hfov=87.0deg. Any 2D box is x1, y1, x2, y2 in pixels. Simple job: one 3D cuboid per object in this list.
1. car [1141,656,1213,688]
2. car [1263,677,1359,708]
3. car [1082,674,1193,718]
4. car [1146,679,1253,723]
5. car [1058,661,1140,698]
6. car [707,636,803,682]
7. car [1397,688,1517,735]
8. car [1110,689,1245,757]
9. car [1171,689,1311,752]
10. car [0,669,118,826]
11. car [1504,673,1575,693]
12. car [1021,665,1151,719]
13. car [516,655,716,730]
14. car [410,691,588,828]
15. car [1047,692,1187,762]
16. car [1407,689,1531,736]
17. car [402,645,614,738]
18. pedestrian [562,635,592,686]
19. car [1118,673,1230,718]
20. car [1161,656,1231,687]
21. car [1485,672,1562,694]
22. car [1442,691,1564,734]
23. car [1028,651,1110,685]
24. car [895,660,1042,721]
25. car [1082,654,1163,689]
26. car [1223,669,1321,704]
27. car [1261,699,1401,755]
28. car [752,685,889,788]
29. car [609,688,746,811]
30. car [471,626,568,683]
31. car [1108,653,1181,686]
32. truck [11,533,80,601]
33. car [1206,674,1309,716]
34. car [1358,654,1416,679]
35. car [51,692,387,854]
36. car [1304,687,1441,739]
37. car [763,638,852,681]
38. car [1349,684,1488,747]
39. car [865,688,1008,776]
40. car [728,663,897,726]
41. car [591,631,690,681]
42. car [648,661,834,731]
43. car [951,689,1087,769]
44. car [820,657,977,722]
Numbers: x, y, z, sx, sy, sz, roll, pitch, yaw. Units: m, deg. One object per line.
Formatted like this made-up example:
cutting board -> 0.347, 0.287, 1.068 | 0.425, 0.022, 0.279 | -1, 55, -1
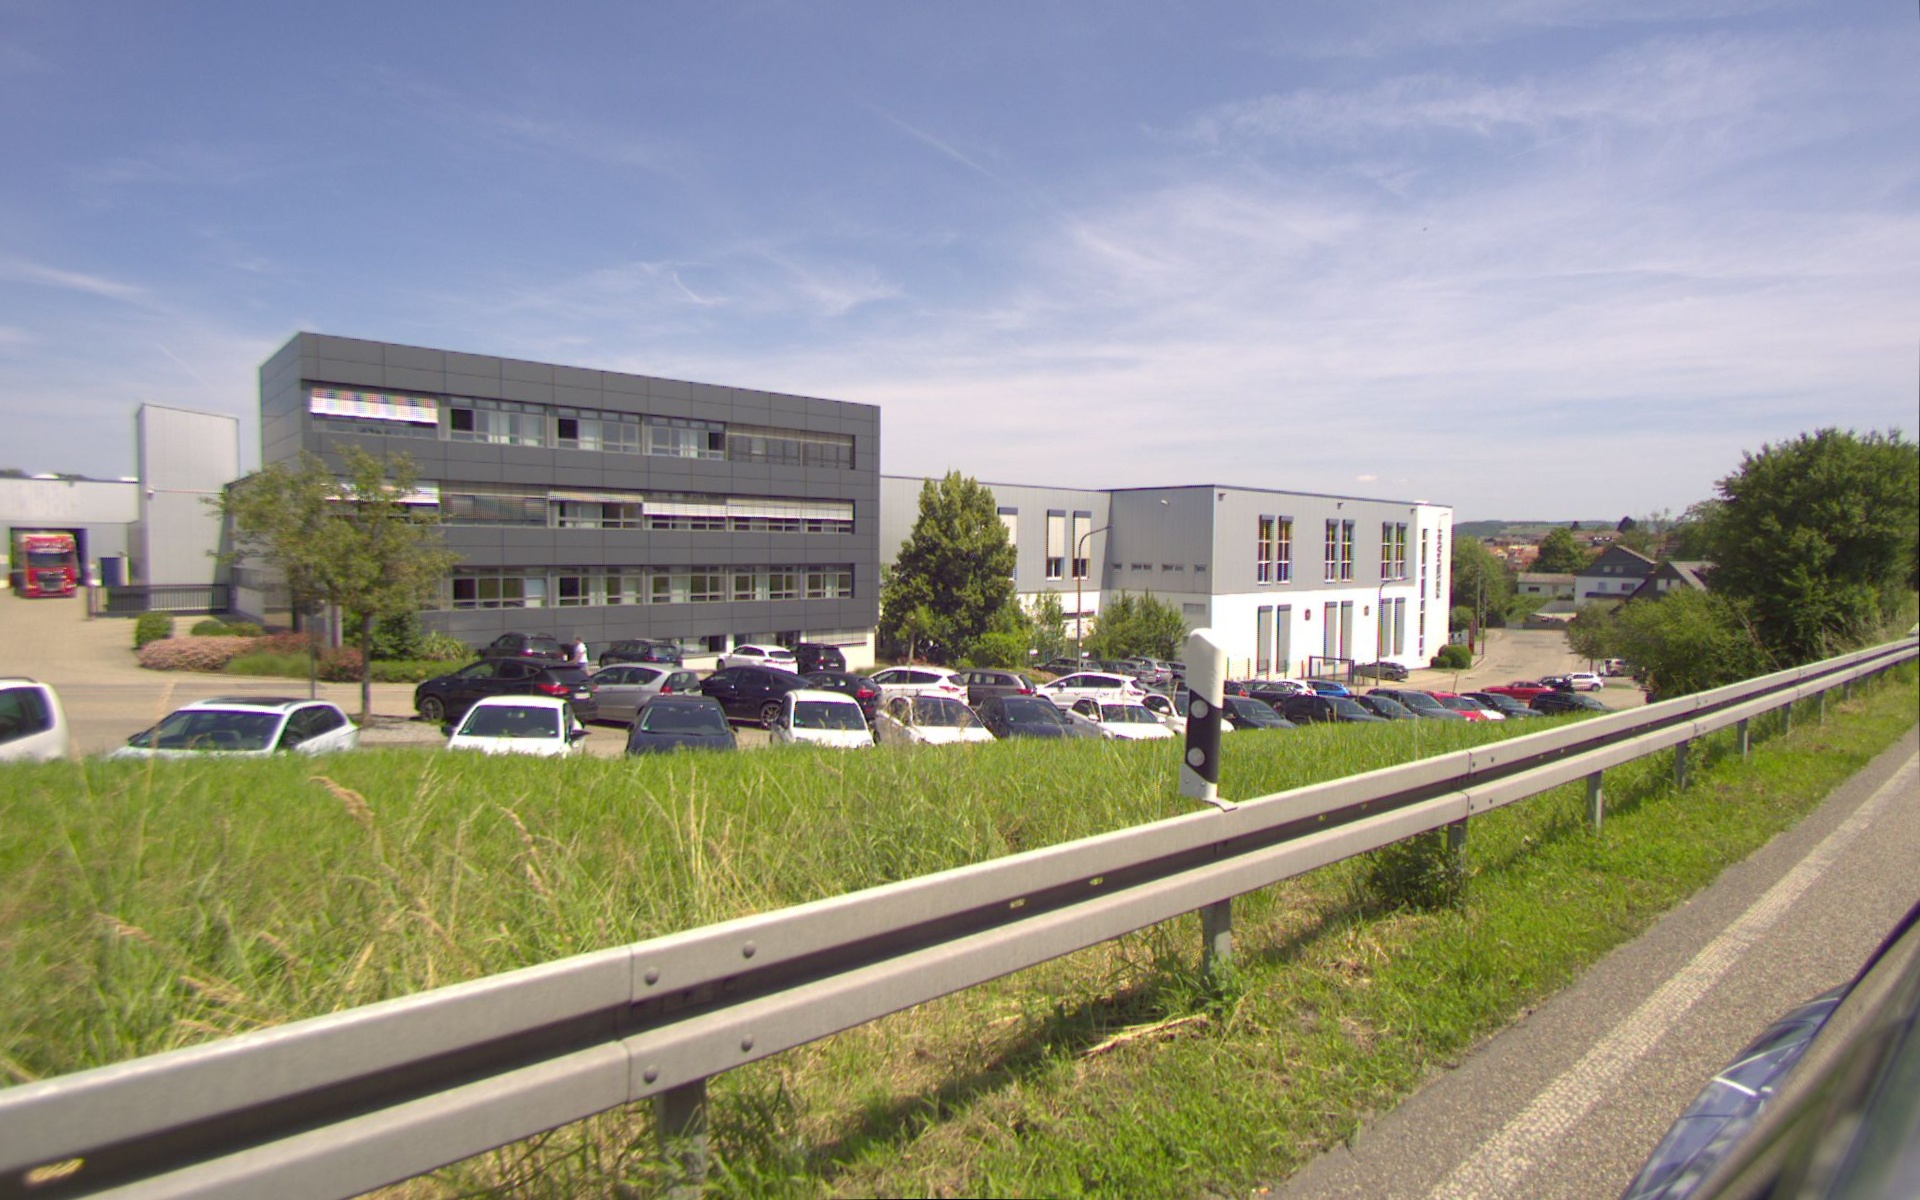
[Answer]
car -> 13.804, 4.556, 64.452 | 1.880, 1.591, 4.042 | 3, 1, -44
car -> 17.237, 4.558, 49.939 | 4.352, 1.464, 1.779 | -2, -4, 18
car -> 6.947, 3.736, 39.554 | 4.102, 1.396, 1.780 | 2, -3, 16
car -> 10.363, 4.341, 43.724 | 4.353, 1.556, 1.779 | 2, -3, 18
car -> 8.132, 4.635, 59.383 | 1.790, 1.591, 4.577 | 3, 1, -44
car -> -8.985, 2.533, 44.172 | 4.573, 1.592, 1.791 | 3, 0, 44
car -> 19.039, 4.240, 39.027 | 1.945, 1.580, 4.414 | 0, -4, -7
car -> 5.701, 3.207, 27.055 | 1.644, 1.538, 4.132 | 1, -4, -18
car -> 7.891, 3.367, 28.919 | 1.675, 1.510, 4.383 | 1, -4, -18
car -> -11.502, 1.633, 11.203 | 1.848, 1.708, 4.466 | 1, -4, -19
car -> 43.894, 6.276, 76.763 | 4.352, 1.464, 1.779 | -2, -4, 18
car -> 4.672, 3.365, 37.466 | 4.523, 1.682, 1.780 | 2, -3, 16
car -> -8.695, 2.283, 25.628 | 4.523, 1.560, 1.810 | 2, -3, 16
car -> -6.659, 2.220, 15.098 | 1.848, 1.580, 4.383 | 1, -4, -17
car -> 3.705, 3.035, 24.809 | 1.780, 1.413, 4.383 | 0, -4, -14
car -> 20.807, 4.568, 41.587 | 1.859, 1.685, 4.417 | 1, -4, -20
car -> -10.348, 2.044, 23.223 | 4.184, 1.650, 1.810 | 4, -3, 17
pedestrian -> -13.341, 2.096, 35.264 | 0.814, 1.746, 0.633 | 3, -5, -41
car -> 8.746, 3.896, 41.514 | 4.345, 1.530, 1.782 | 2, -3, 13
car -> 15.438, 4.672, 66.370 | 1.880, 1.591, 4.042 | 3, 1, -44
car -> 39.126, 5.770, 70.346 | 4.352, 1.464, 1.779 | -2, -4, 18
car -> 22.829, 4.692, 42.733 | 1.752, 1.563, 4.417 | 1, -4, -20
car -> 6.179, 3.832, 57.829 | 1.790, 1.592, 4.576 | 3, -1, -44
car -> 0.304, 2.962, 33.604 | 4.523, 1.682, 1.780 | 2, -3, 16
car -> 9.764, 4.271, 61.054 | 1.790, 1.591, 4.577 | 3, 1, -44
car -> 14.876, 4.123, 48.317 | 4.352, 1.626, 1.779 | -2, -4, 18
car -> 12.092, 4.116, 33.401 | 1.874, 1.508, 4.732 | 1, -4, -16
car -> -2.723, 2.423, 18.884 | 1.823, 1.580, 4.383 | 1, -4, -17
car -> -4.638, 2.284, 16.460 | 1.848, 1.580, 4.383 | 1, -4, -17
car -> -16.133, 1.954, 36.964 | 1.789, 1.668, 4.578 | 4, 0, -43
car -> 11.460, 4.275, 62.956 | 1.880, 1.591, 4.042 | 3, 1, -44
truck -> -63.967, -2.122, 70.923 | 3.180, 4.298, 13.879 | 3, -2, -42
car -> 13.404, 4.253, 45.643 | 4.353, 1.561, 1.779 | 2, -3, 18
car -> 36.819, 5.728, 87.329 | 1.880, 1.591, 4.045 | 3, 4, -44
car -> -9.213, 2.054, 13.120 | 1.848, 1.580, 4.382 | 0, -4, -12
car -> 14.435, 3.916, 35.728 | 1.919, 1.585, 4.732 | 1, -4, -16
car -> -7.014, 2.683, 46.158 | 1.788, 1.592, 4.581 | 4, 0, -40
car -> 16.757, 4.173, 37.317 | 2.035, 2.040, 4.732 | 1, -4, -16
car -> -0.617, 2.605, 20.752 | 1.780, 1.476, 4.383 | 1, -4, -17
car -> -4.320, 2.730, 29.757 | 4.523, 1.533, 1.810 | 2, -3, 16
car -> -12.918, 2.221, 40.798 | 4.573, 1.592, 1.791 | 3, 0, 44
car -> -5.870, 2.530, 27.273 | 4.518, 1.533, 1.812 | 2, -3, 14
car -> 1.190, 2.812, 22.726 | 1.780, 1.476, 4.383 | 0, -4, -14
car -> -1.897, 2.740, 31.558 | 4.523, 1.682, 1.810 | 2, -3, 16
